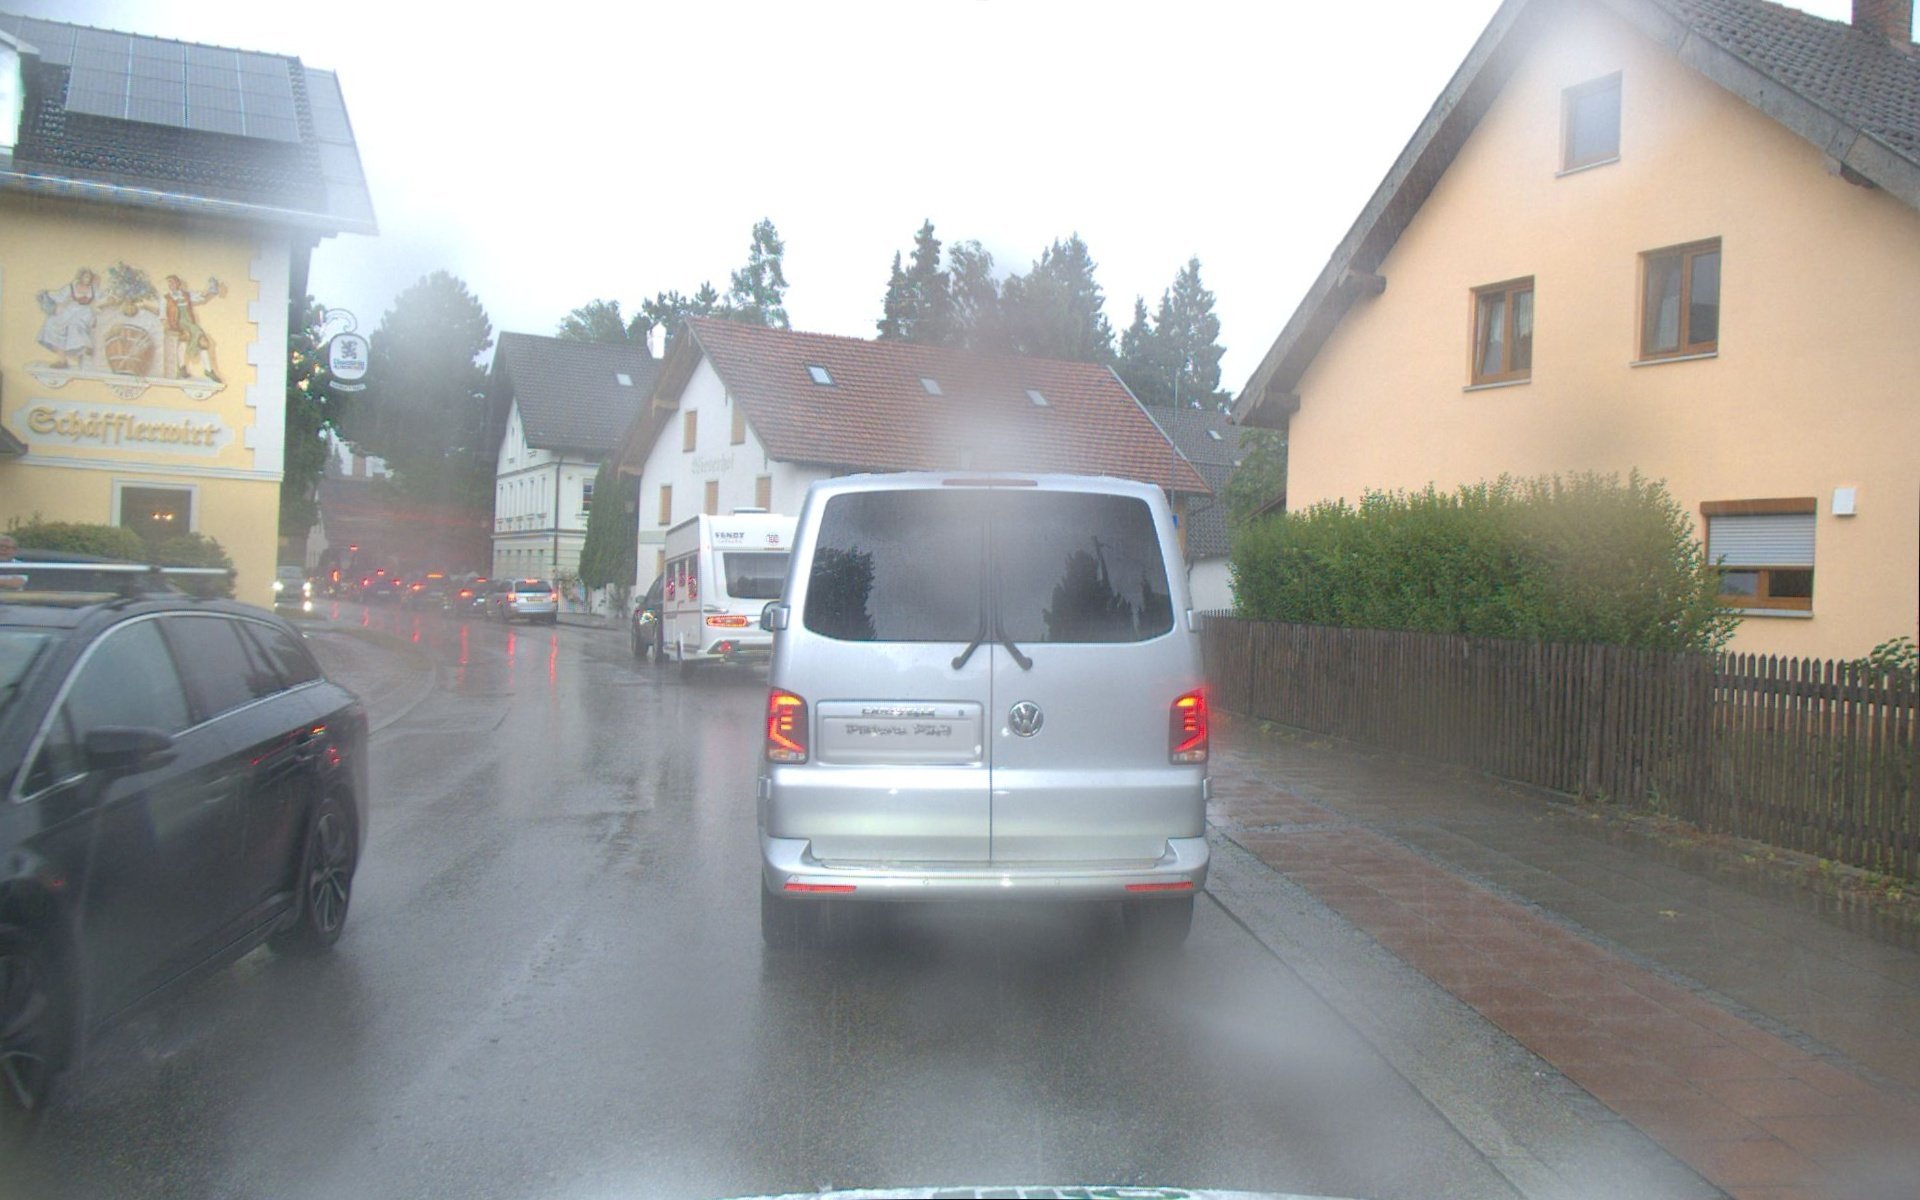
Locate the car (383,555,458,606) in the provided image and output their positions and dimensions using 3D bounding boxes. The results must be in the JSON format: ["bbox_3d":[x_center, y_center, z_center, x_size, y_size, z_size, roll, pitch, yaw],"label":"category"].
[{"bbox_3d":[-22.415,-0.828,68.594,2.143,1.932,4.971,2,1,-27],"label":"car"}]

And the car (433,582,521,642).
[{"bbox_3d":[-17.624,0.398,60.220,2.143,1.932,4.971,2,1,-27],"label":"car"}]

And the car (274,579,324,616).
[{"bbox_3d":[-32.300,-0.144,80.791,1.900,1.775,4.154,0,1,-28],"label":"car"}]

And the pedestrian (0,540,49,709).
[{"bbox_3d":[-9.911,0.241,17.165,0.481,1.719,0.554,4,-1,-1],"label":"pedestrian"}]

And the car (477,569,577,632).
[{"bbox_3d":[-14.361,0.002,54.663,2.143,1.932,4.970,2,-1,-27],"label":"car"}]

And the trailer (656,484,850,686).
[{"bbox_3d":[-3.584,-0.229,27.444,2.234,2.955,6.104,1,0,-16],"label":"trailer"}]

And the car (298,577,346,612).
[{"bbox_3d":[-38.018,-0.346,98.542,2.143,1.932,4.971,2,1,-27],"label":"car"}]

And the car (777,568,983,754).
[{"bbox_3d":[-0.964,0.497,17.106,1.676,1.611,4.677,-1,1,-8],"label":"car"}]

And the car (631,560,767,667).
[{"bbox_3d":[-5.277,0.236,32.835,2.021,1.932,5.152,1,0,-16],"label":"car"}]

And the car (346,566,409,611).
[{"bbox_3d":[-27.783,-0.562,78.808,2.143,1.932,4.971,2,1,-27],"label":"car"}]

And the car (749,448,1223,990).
[{"bbox_3d":[0.079,0.433,8.648,1.740,1.997,5.073,0,0,-1],"label":"car"}]

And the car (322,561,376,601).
[{"bbox_3d":[-32.907,-1.049,89.014,2.143,1.932,4.971,2,1,-27],"label":"car"}]

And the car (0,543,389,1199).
[{"bbox_3d":[-3.152,0.631,5.100,1.606,1.547,4.184,0,0,-4],"label":"car"}]

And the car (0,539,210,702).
[{"bbox_3d":[-10.822,0.133,18.251,4.427,1.594,1.822,5,1,-30],"label":"car"}]
